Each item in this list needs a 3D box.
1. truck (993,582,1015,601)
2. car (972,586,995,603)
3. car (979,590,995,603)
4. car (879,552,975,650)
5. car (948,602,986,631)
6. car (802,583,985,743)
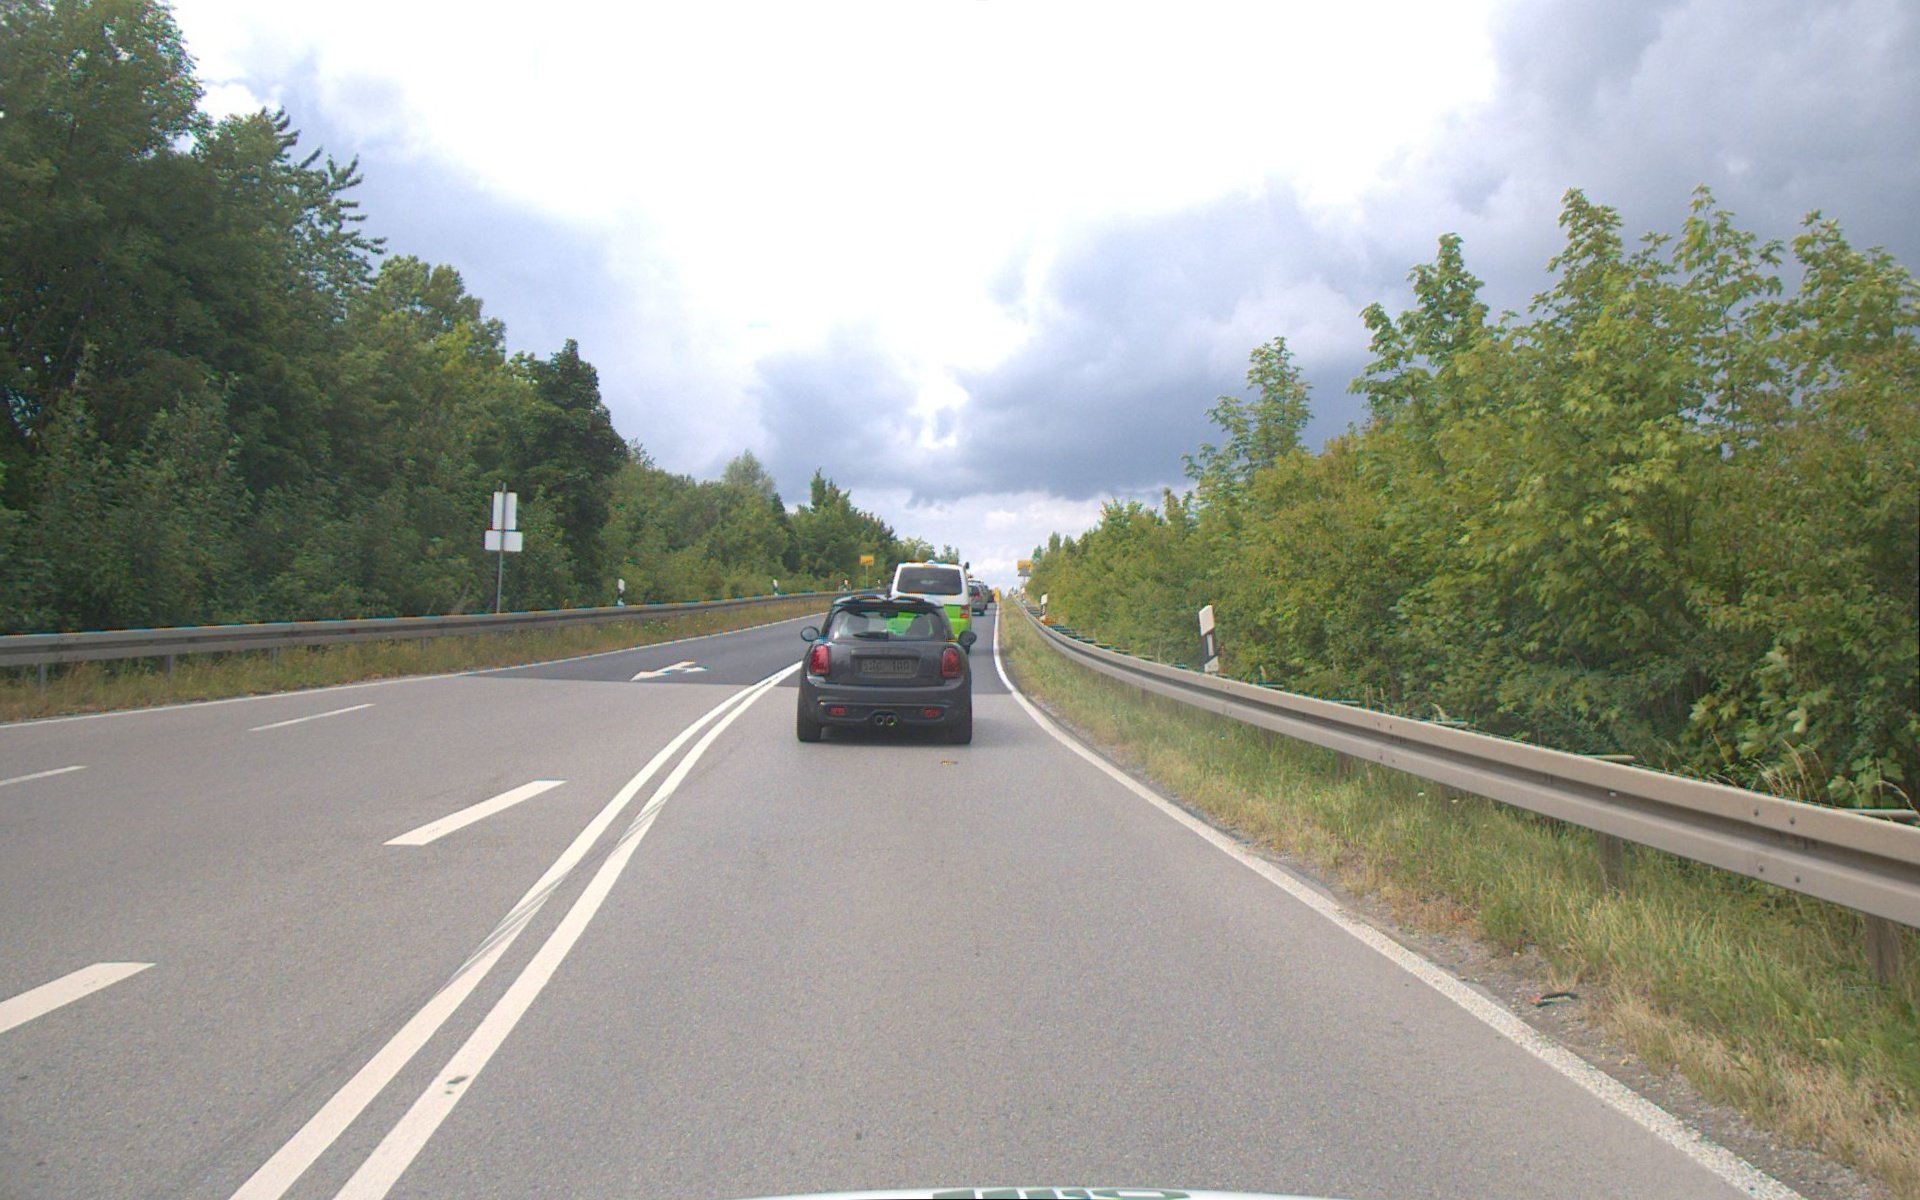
[{"bbox_3d":[5.910,-1.111,220.403,2.849,2.413,10.455,-1,1,2],"label":"truck"},{"bbox_3d":[1.944,-0.429,134.589,1.659,1.342,4.002,0,1,3],"label":"car"},{"bbox_3d":[2.928,-0.341,179.216,1.659,1.342,4.002,0,1,3],"label":"car"},{"bbox_3d":[-0.681,-0.017,37.583,1.980,2.048,4.001,2,1,1],"label":"car"},{"bbox_3d":[0.338,0.749,76.683,1.659,1.243,4.001,0,1,1],"label":"car"},{"bbox_3d":[-0.764,0.573,17.508,1.698,1.481,3.997,1,1,-4],"label":"car"}]
